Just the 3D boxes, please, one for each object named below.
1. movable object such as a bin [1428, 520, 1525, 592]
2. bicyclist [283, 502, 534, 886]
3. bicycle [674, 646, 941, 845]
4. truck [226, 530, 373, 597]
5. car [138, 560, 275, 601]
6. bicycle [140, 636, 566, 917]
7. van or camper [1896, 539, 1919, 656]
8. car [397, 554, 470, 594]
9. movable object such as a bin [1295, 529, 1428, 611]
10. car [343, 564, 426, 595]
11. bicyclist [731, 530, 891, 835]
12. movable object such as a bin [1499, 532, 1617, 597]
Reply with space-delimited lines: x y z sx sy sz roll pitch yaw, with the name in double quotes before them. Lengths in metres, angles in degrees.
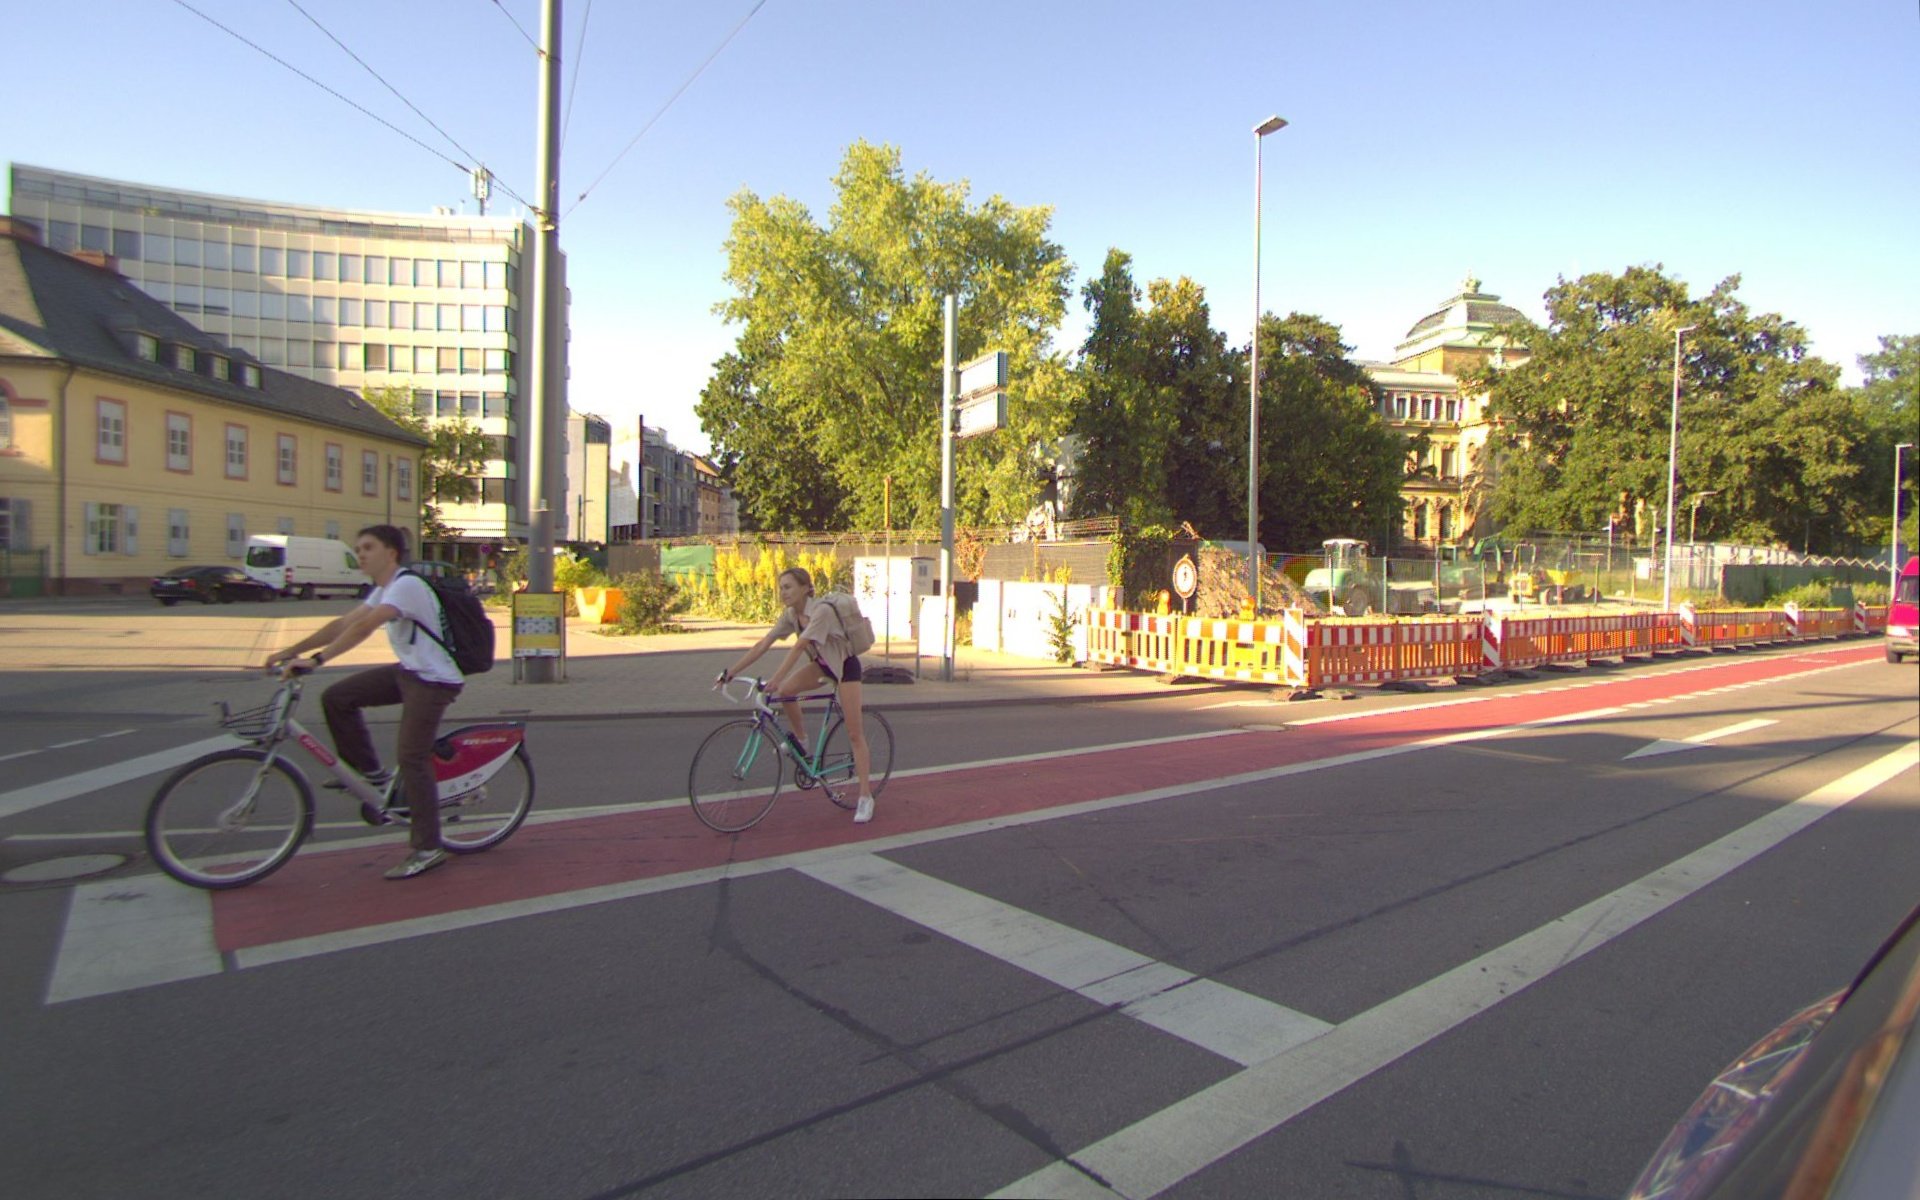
"movable object such as a bin" 25.468 -2.108 49.827 5.272 3.371 2.000 -1 0 -34
"bicyclist" -2.852 0.431 5.273 1.043 1.790 0.542 -1 0 -44
"bicycle" -0.919 0.847 6.420 1.665 1.014 0.542 -1 1 -44
"truck" -27.267 -1.438 42.067 2.259 2.581 5.636 0 1 3
"car" -26.946 -0.681 36.365 1.683 1.382 4.192 0 1 3
"bicycle" -2.984 0.781 5.126 1.778 1.114 0.542 -1 1 -44
"van or camper" 23.577 -0.096 23.455 5.808 2.561 1.998 -1 1 -39
"car" -27.061 -1.314 52.176 1.683 2.005 3.759 0 1 3
"movable object such as a bin" 14.349 -1.046 36.078 4.918 2.717 2.000 -1 1 -34
"car" -27.129 -0.942 47.824 1.683 1.382 3.759 0 1 3
"bicyclist" -0.932 0.471 6.361 0.779 1.768 0.614 -1 0 -43
"movable object such as a bin" 27.651 -1.590 46.745 5.748 2.852 2.002 -1 0 -29
